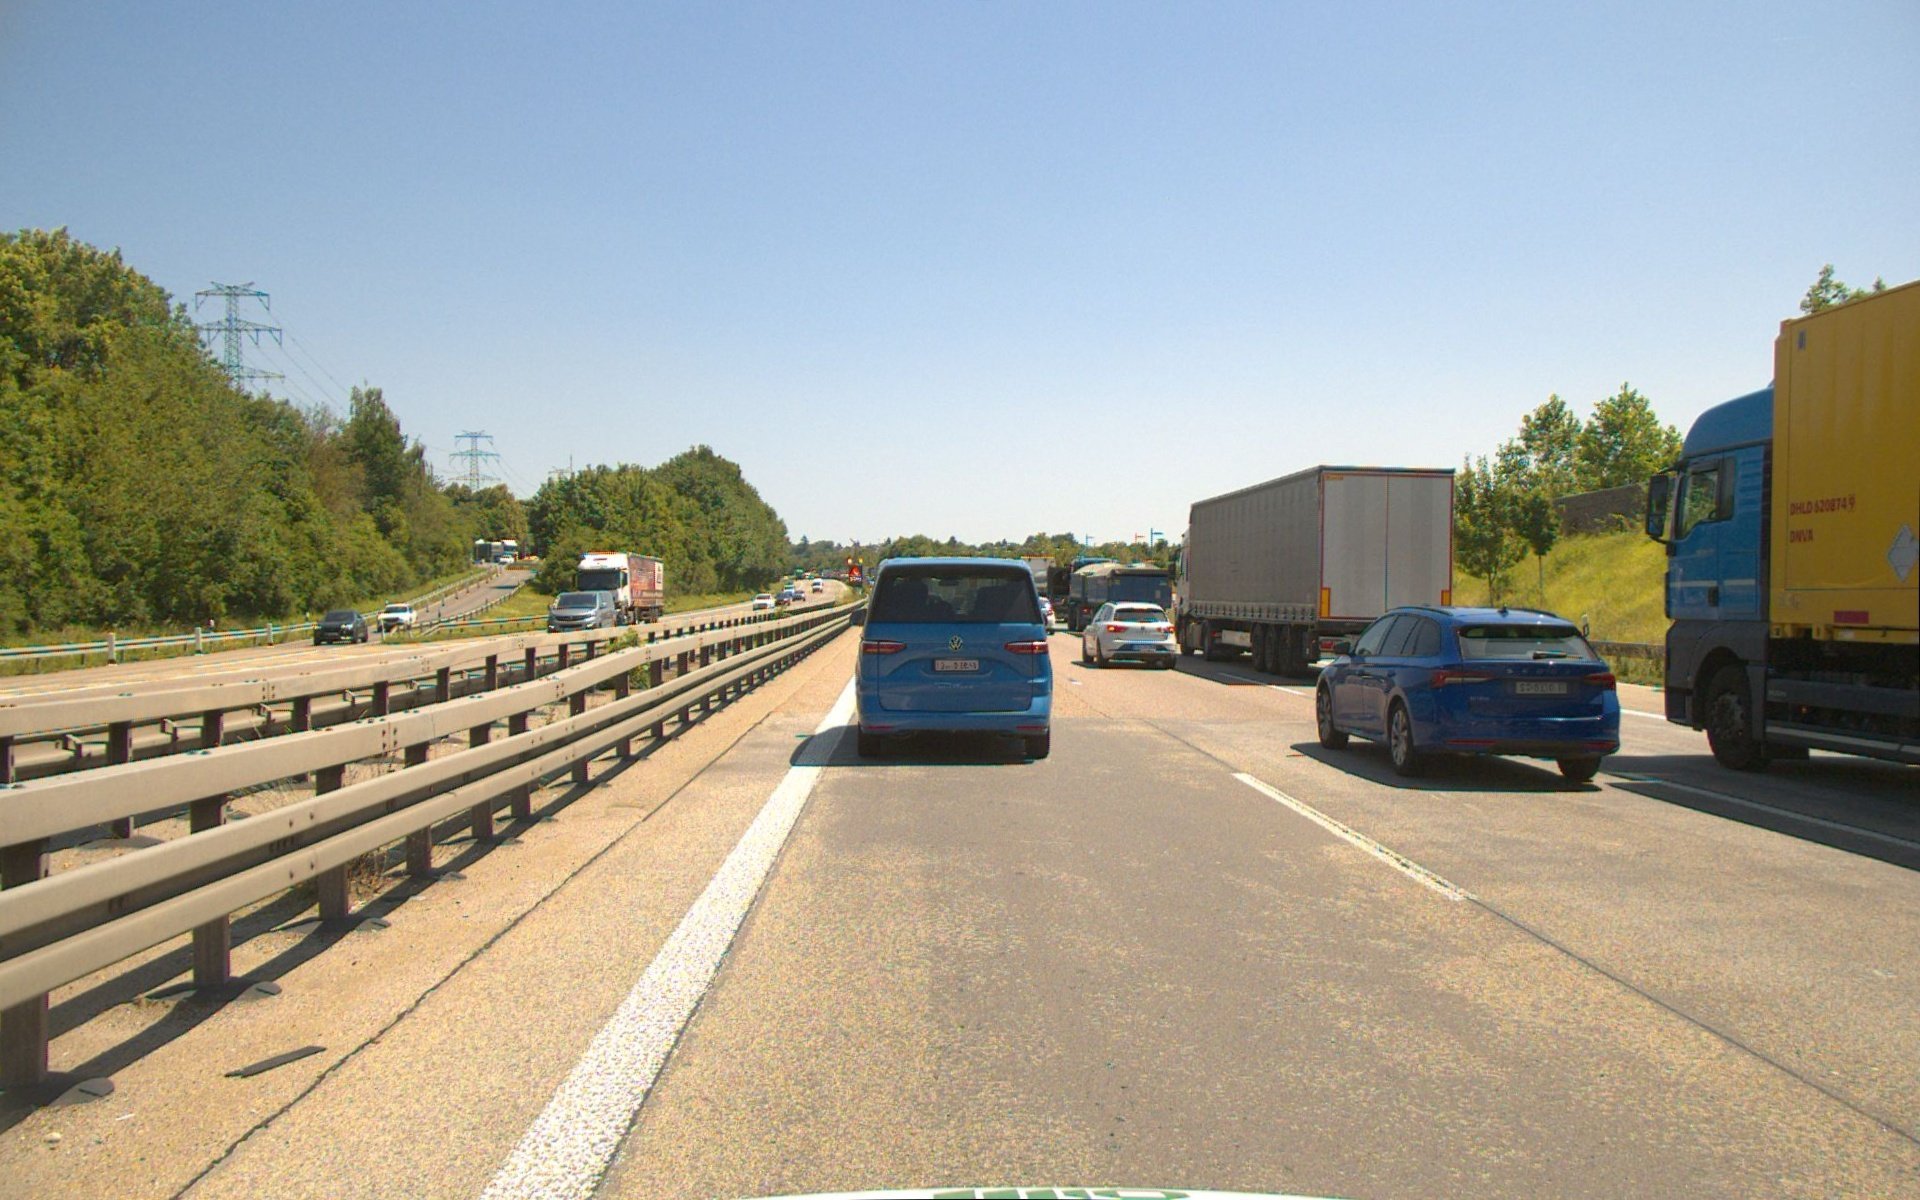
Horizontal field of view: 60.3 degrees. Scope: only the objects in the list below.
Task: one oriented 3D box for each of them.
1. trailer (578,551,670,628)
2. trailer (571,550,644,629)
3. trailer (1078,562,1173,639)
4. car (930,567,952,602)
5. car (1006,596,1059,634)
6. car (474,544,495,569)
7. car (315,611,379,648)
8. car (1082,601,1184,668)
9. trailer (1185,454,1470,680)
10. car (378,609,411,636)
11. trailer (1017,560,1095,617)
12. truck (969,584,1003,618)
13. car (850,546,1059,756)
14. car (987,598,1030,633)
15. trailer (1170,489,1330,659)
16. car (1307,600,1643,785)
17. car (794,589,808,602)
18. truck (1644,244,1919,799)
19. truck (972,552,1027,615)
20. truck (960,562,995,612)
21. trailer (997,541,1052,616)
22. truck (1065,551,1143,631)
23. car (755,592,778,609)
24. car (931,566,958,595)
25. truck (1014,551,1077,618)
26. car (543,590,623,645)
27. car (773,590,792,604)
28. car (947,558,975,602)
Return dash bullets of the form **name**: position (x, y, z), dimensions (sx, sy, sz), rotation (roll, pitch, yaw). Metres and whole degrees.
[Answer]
- **trailer**: position (-19.311, -0.646, 95.984), dimensions (2.708, 4.045, 14.675), rotation (-2, 1, -2)
- **trailer**: position (-19.123, -0.580, 90.050), dimensions (2.701, 4.045, 6.129), rotation (-2, 1, -2)
- **trailer**: position (6.614, -0.053, 67.503), dimensions (2.688, 2.886, 9.113), rotation (1, 1, -2)
- **car**: position (-3.078, -2.439, 263.573), dimensions (3.154, 5.349, 8.138), rotation (1, -1, -3)
- **car**: position (2.911, 0.612, 67.218), dimensions (1.803, 1.480, 3.998), rotation (1, -1, -3)
- **car**: position (-59.837, -5.448, 207.977), dimensions (2.039, 2.930, 6.691), rotation (-1, 0, -20)
- **car**: position (-28.163, 1.340, 76.139), dimensions (1.958, 1.603, 5.259), rotation (1, -1, -12)
- **car**: position (3.854, 0.734, 37.438), dimensions (1.829, 1.385, 3.999), rotation (1, 0, -1)
- **trailer**: position (7.654, -0.631, 37.085), dimensions (2.903, 4.120, 13.746), rotation (0, 0, -2)
- **car**: position (-32.177, 1.264, 94.205), dimensions (1.659, 1.481, 4.324), rotation (1, -1, -18)
- **trailer**: position (5.603, -0.587, 99.814), dimensions (3.572, 3.133, 15.768), rotation (1, 0, -1)
- **truck**: position (1.481, 0.063, 94.705), dimensions (1.691, 1.890, 3.998), rotation (1, -1, -2)
- **car**: position (-0.074, 0.481, 16.934), dimensions (1.863, 1.870, 3.999), rotation (1, -1, -1)
- **car**: position (2.246, 0.729, 77.715), dimensions (1.745, 1.551, 3.998), rotation (1, -1, -2)
- **trailer**: position (7.423, -0.648, 43.227), dimensions (2.865, 4.114, 6.408), rotation (0, 0, -2)
- **car**: position (4.615, 0.766, 15.530), dimensions (1.671, 1.466, 4.426), rotation (1, -1, -2)
- **car**: position (-21.390, -0.621, 222.789), dimensions (1.738, 1.659, 3.947), rotation (1, -1, -5)
- **truck**: position (8.589, -0.579, 12.169), dimensions (2.709, 4.181, 9.949), rotation (1, 0, -2)
- **truck**: position (3.411, -1.323, 147.104), dimensions (3.549, 5.304, 15.677), rotation (1, -1, -3)
- **truck**: position (1.752, -1.276, 172.032), dimensions (3.007, 5.006, 10.684), rotation (1, -1, -2)
- **trailer**: position (4.719, -1.475, 124.060), dimensions (3.572, 5.226, 13.074), rotation (1, -1, 0)
- **truck**: position (6.411, -0.454, 74.765), dimensions (2.688, 3.369, 7.131), rotation (1, 1, -1)
- **car**: position (-17.675, 0.056, 151.015), dimensions (1.814, 1.493, 4.301), rotation (-1, 0, -3)
- **car**: position (-1.583, -1.913, 164.652), dimensions (2.499, 2.765, 5.618), rotation (1, -1, -2)
- **truck**: position (5.511, -0.937, 108.056), dimensions (3.552, 4.166, 7.522), rotation (1, -1, -1)
- **car**: position (-14.105, 0.661, 62.204), dimensions (1.953, 1.975, 4.895), rotation (1, -1, -1)
- **car**: position (-19.649, -0.349, 183.374), dimensions (1.839, 1.472, 4.142), rotation (-2, 0, -3)
- **car**: position (0.071, -2.445, 206.032), dimensions (3.154, 5.349, 8.139), rotation (1, -1, -3)
